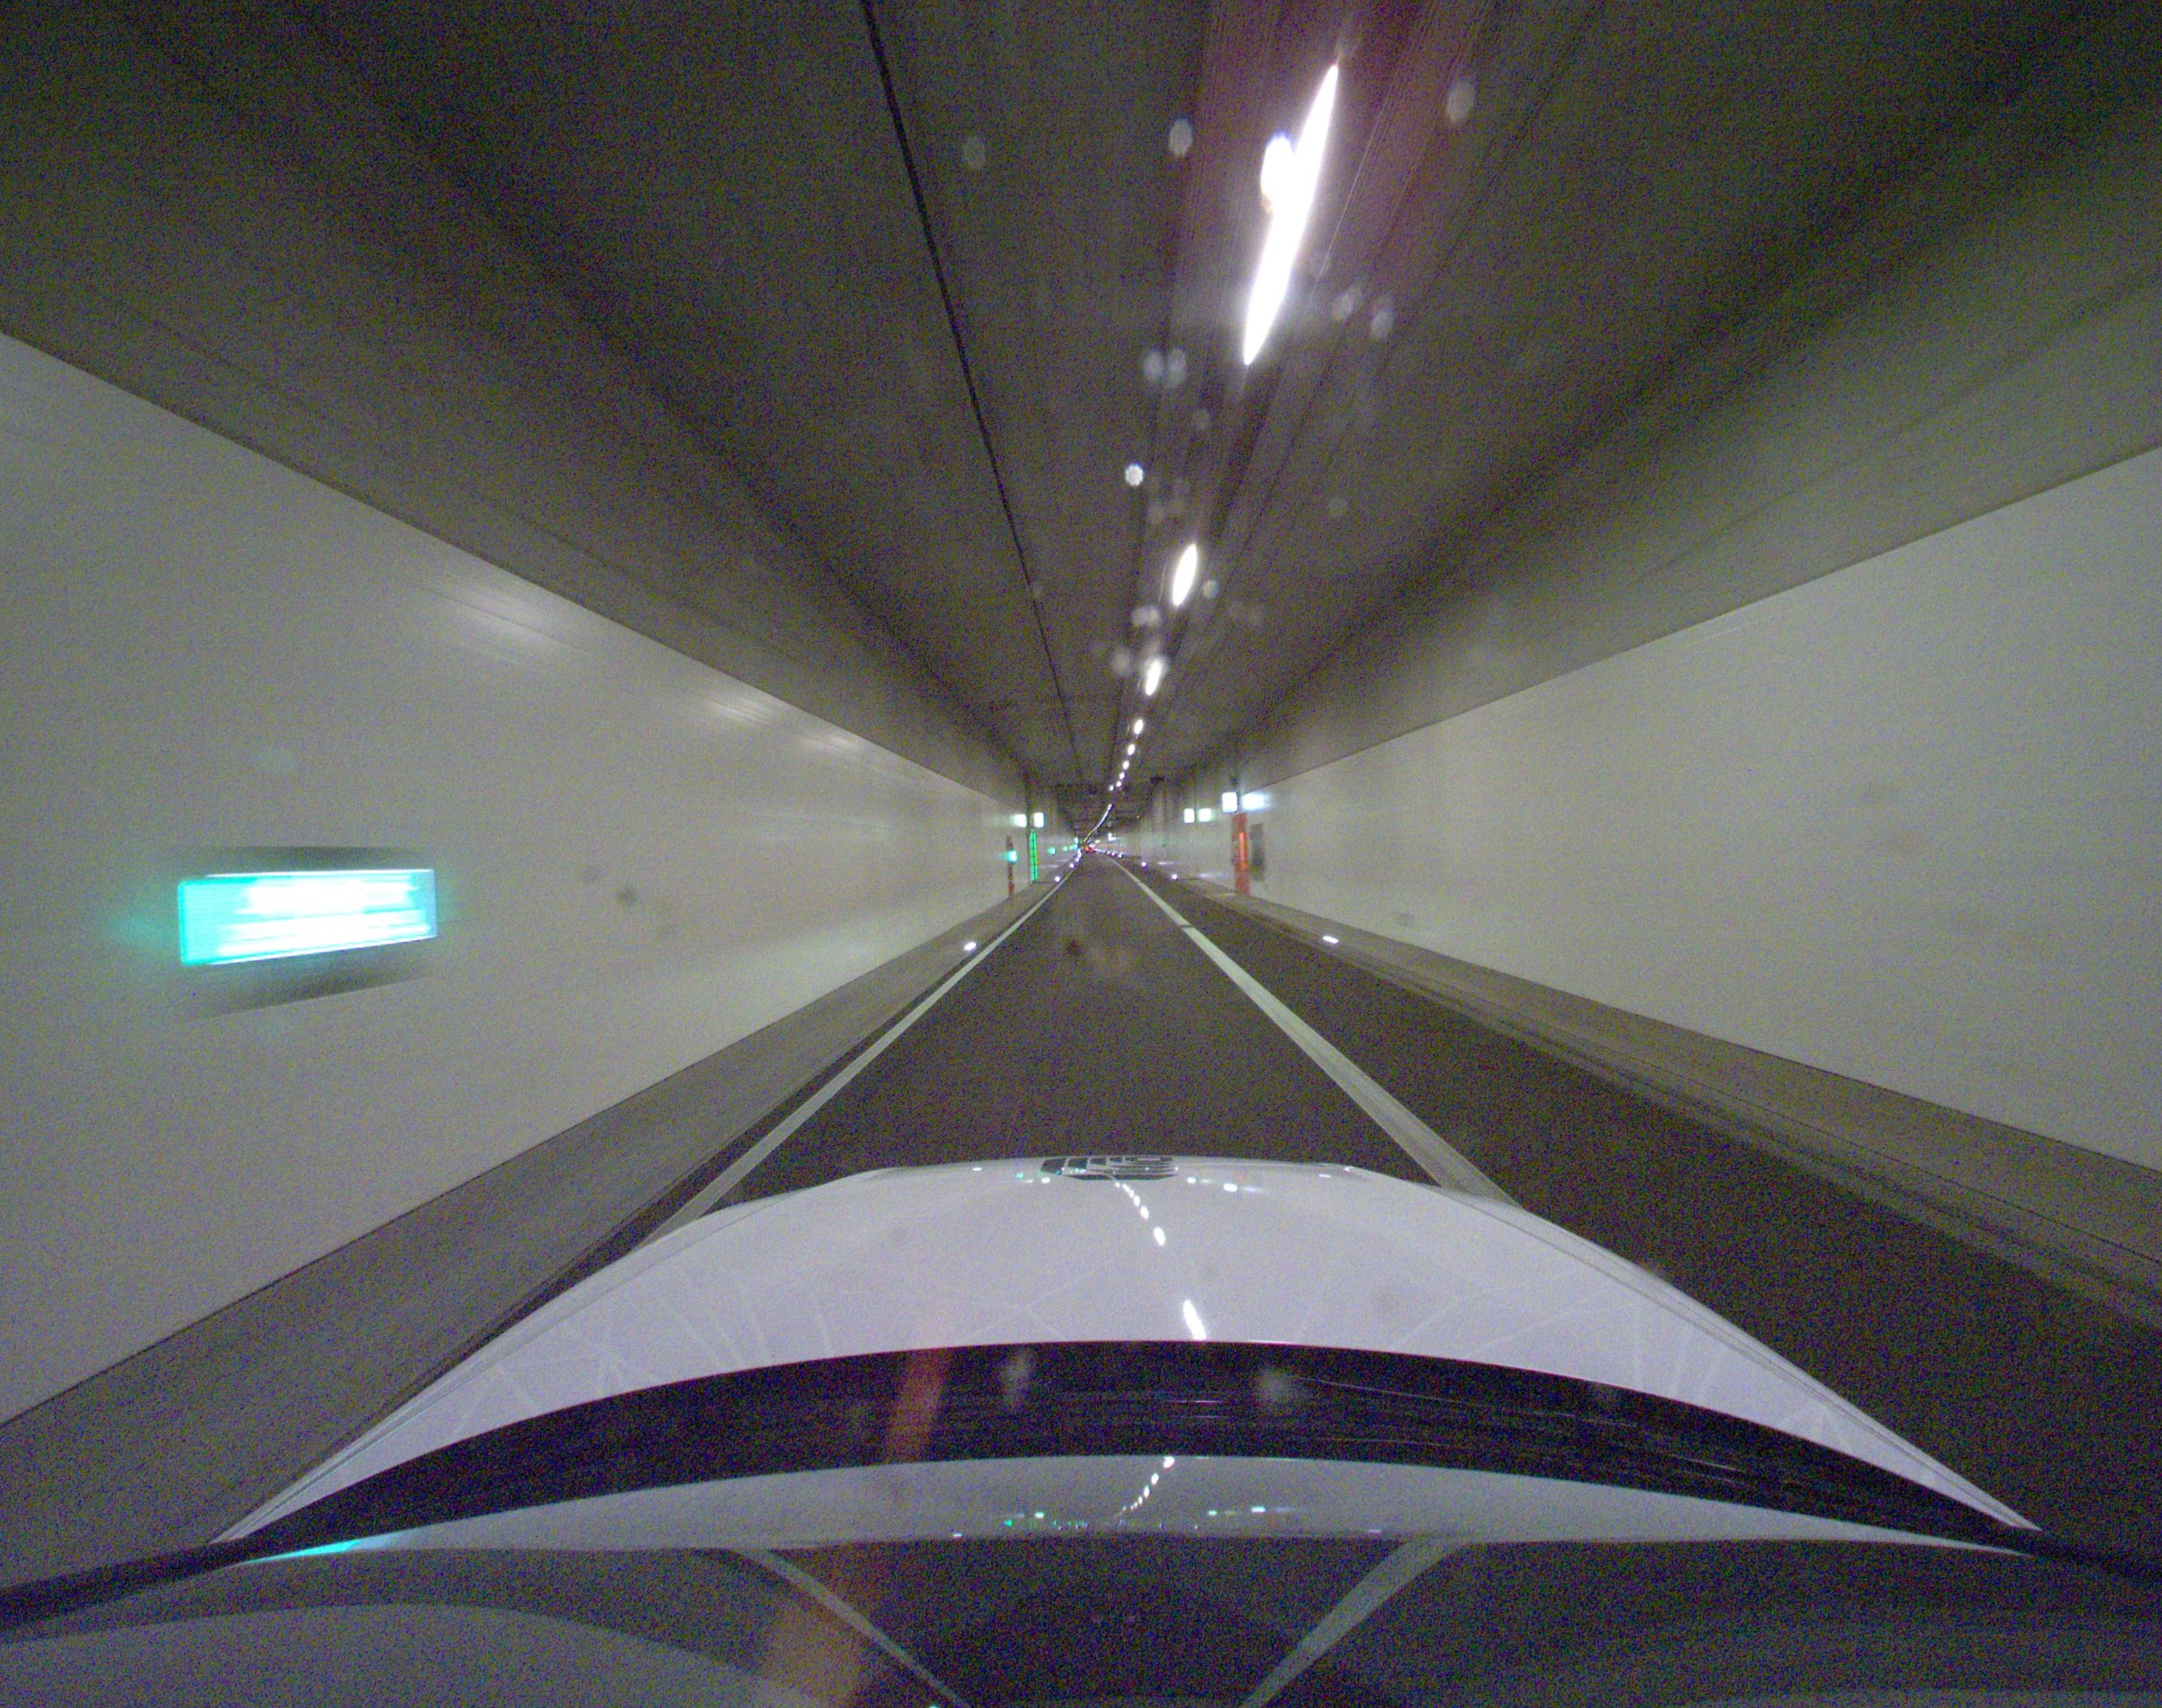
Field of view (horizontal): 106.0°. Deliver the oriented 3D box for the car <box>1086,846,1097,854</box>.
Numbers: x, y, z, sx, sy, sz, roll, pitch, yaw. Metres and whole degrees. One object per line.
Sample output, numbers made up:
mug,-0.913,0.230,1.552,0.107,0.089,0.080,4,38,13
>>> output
car,1.937,-0.750,157.986,1.987,1.420,3.999,-3,0,-1
